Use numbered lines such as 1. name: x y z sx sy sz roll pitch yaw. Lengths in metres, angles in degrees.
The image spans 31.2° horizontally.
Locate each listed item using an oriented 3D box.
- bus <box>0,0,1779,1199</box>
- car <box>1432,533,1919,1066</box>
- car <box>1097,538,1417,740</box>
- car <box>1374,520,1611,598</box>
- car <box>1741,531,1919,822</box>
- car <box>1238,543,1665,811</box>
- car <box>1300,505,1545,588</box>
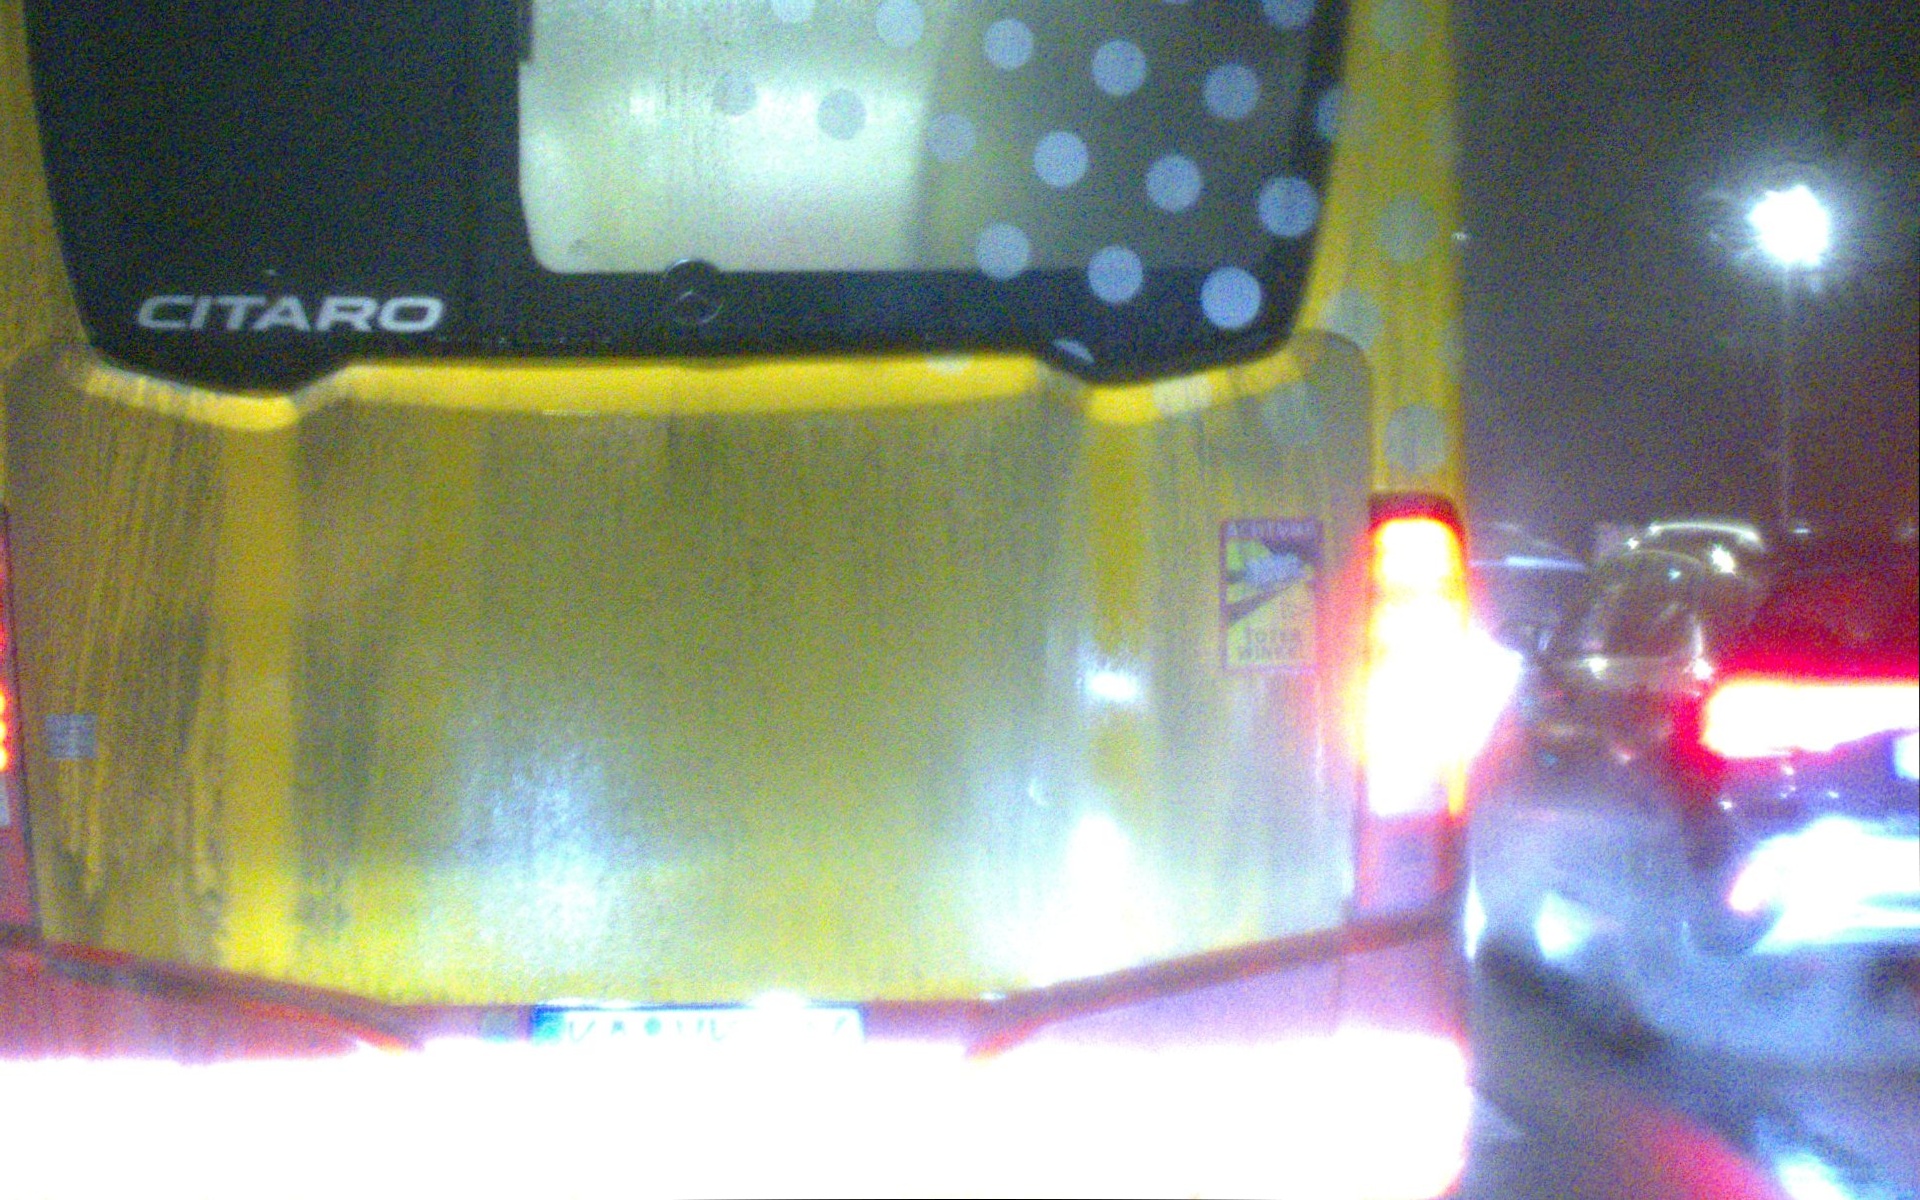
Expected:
1. bus: -0.616 -0.312 9.805 3.285 3.039 9.546 0 2 -2
2. car: 2.843 0.559 11.821 1.677 1.516 3.961 1 1 -3
3. car: 2.235 0.264 26.932 1.993 1.436 4.000 1 1 -2
4. car: 10.004 -0.785 64.696 4.041 1.341 1.748 1 3 -8
5. car: 5.851 0.416 18.847 1.993 1.475 4.339 3 1 -1
6. car: 2.617 0.355 19.154 1.686 1.326 3.961 -1 1 -2
7. car: 9.217 -1.077 68.696 4.482 1.513 1.858 1 3 -8
